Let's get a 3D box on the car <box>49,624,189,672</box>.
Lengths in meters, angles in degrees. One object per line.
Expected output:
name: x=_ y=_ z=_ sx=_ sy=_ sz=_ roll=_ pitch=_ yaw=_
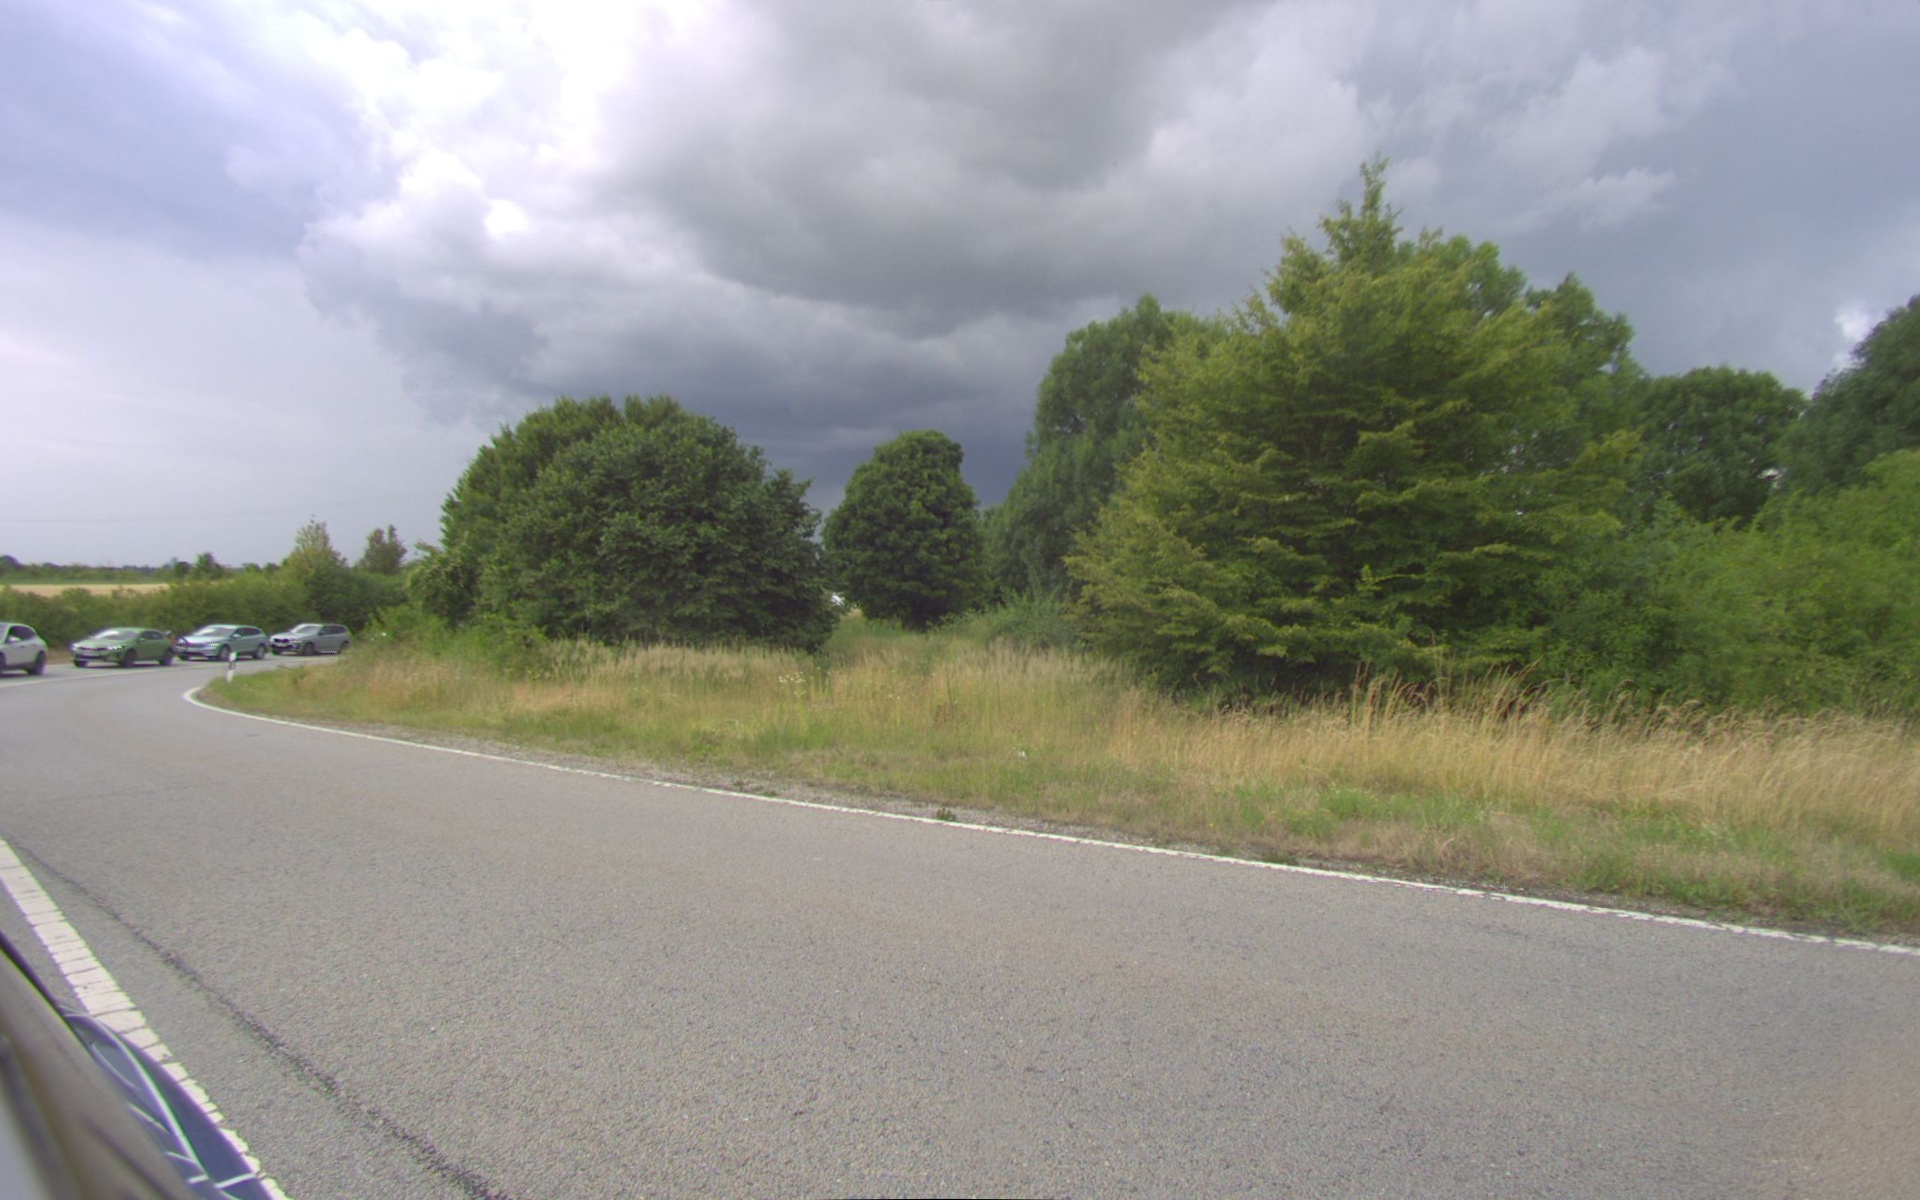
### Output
car: x=-33.052 y=1.873 z=39.996 sx=1.967 sy=1.733 sz=5.220 roll=2 pitch=-2 yaw=-12

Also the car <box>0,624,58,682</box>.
car: x=-30.361 y=1.603 z=31.418 sx=1.965 sy=1.733 sz=5.225 roll=3 pitch=-3 yaw=-24

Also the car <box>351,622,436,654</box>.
car: x=-34.645 y=2.294 z=62.091 sx=1.974 sy=1.732 sz=5.202 roll=2 pitch=0 yaw=4

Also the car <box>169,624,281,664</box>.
car: x=-34.327 y=2.053 z=47.466 sx=1.968 sy=1.733 sz=5.217 roll=2 pitch=-2 yaw=-8

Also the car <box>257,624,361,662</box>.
car: x=-34.856 y=2.264 z=54.366 sx=1.974 sy=1.732 sz=5.202 roll=2 pitch=0 yaw=4
